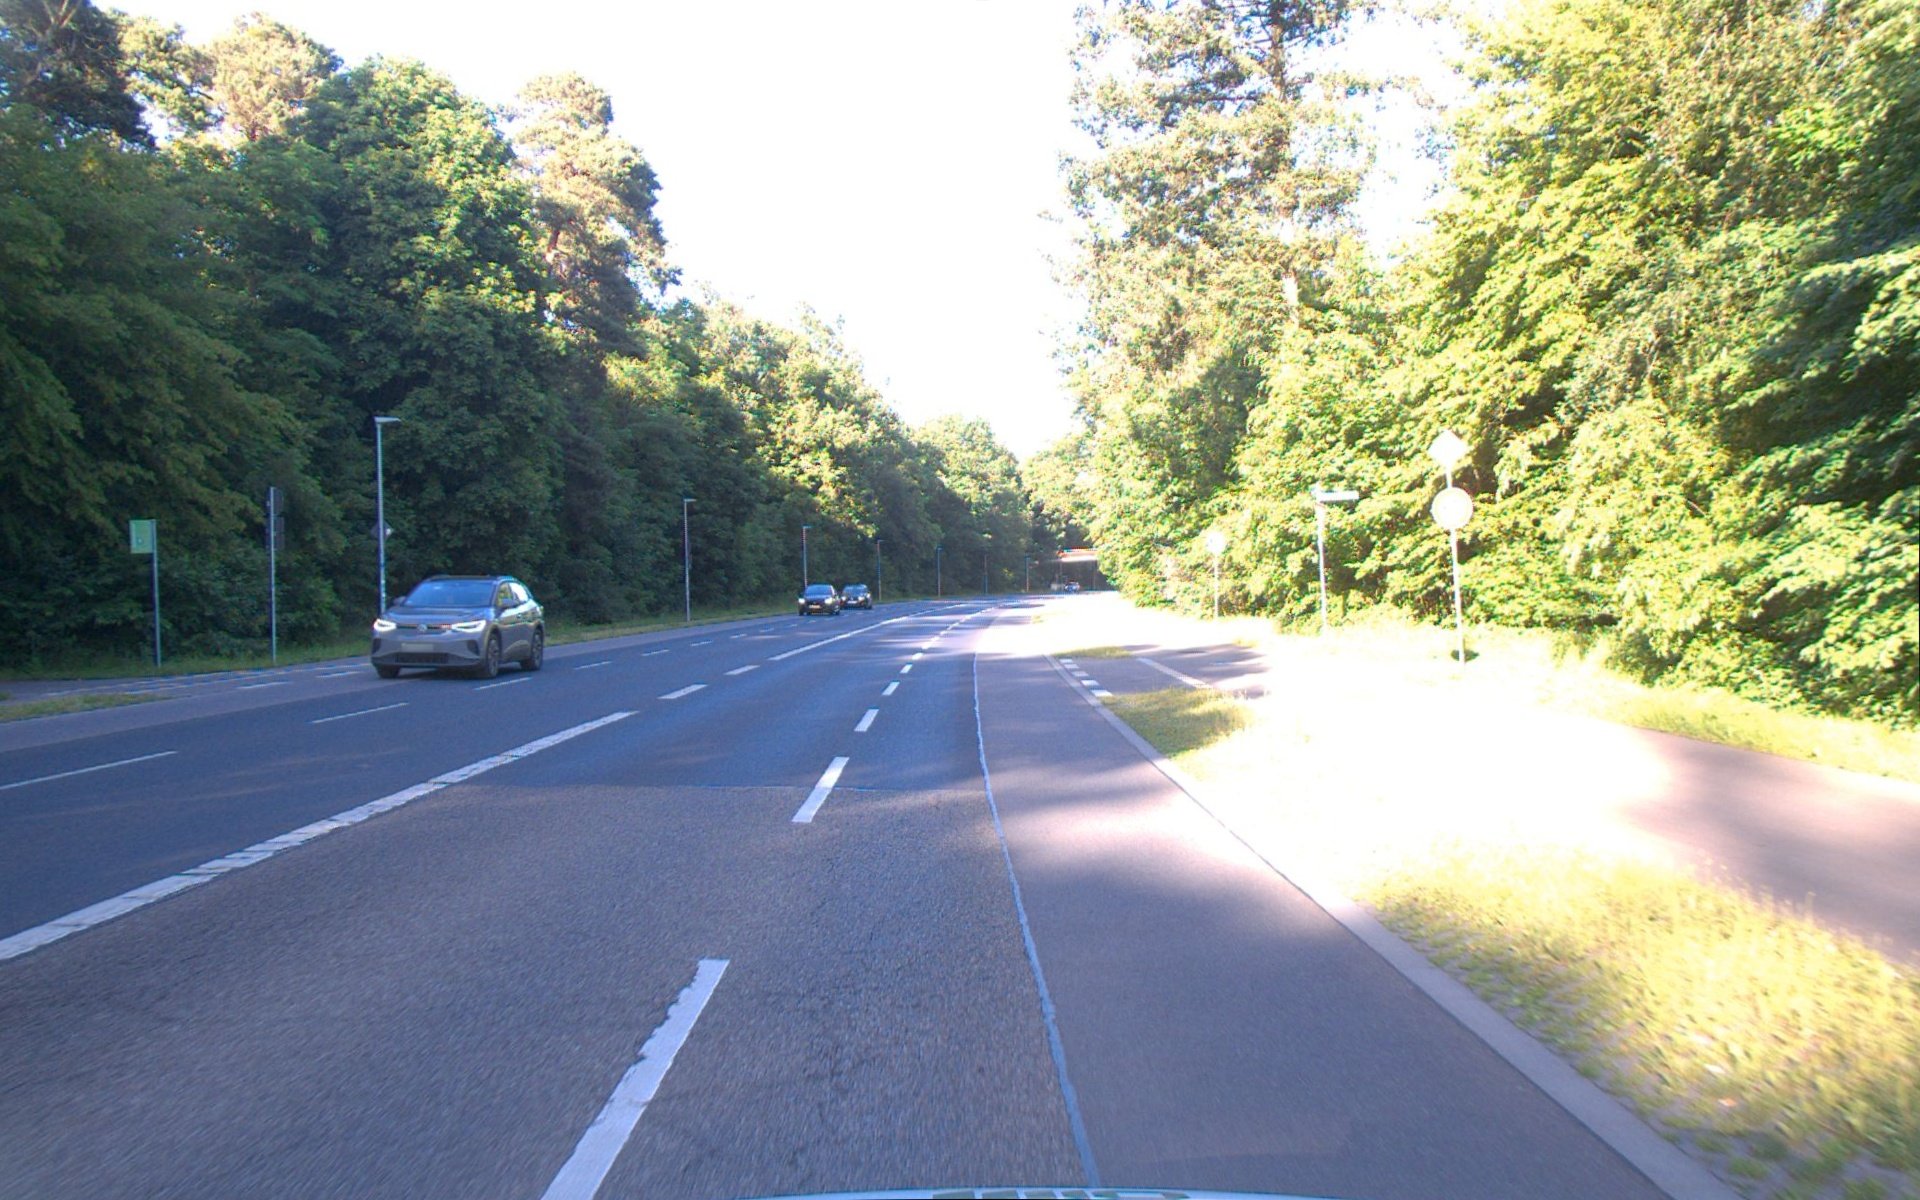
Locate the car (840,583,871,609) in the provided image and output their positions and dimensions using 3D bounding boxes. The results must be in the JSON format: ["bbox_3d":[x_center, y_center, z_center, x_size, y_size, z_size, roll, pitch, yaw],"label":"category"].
[{"bbox_3d":[-6.233,-0.268,98.704,1.623,1.506,4.172,0,1,-1],"label":"car"}]

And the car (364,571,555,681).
[{"bbox_3d":[-8.241,0.382,27.670,1.857,1.639,4.449,1,0,-1],"label":"car"}]

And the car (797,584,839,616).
[{"bbox_3d":[-6.879,-0.021,80.448,1.703,1.483,3.998,1,0,-1],"label":"car"}]
